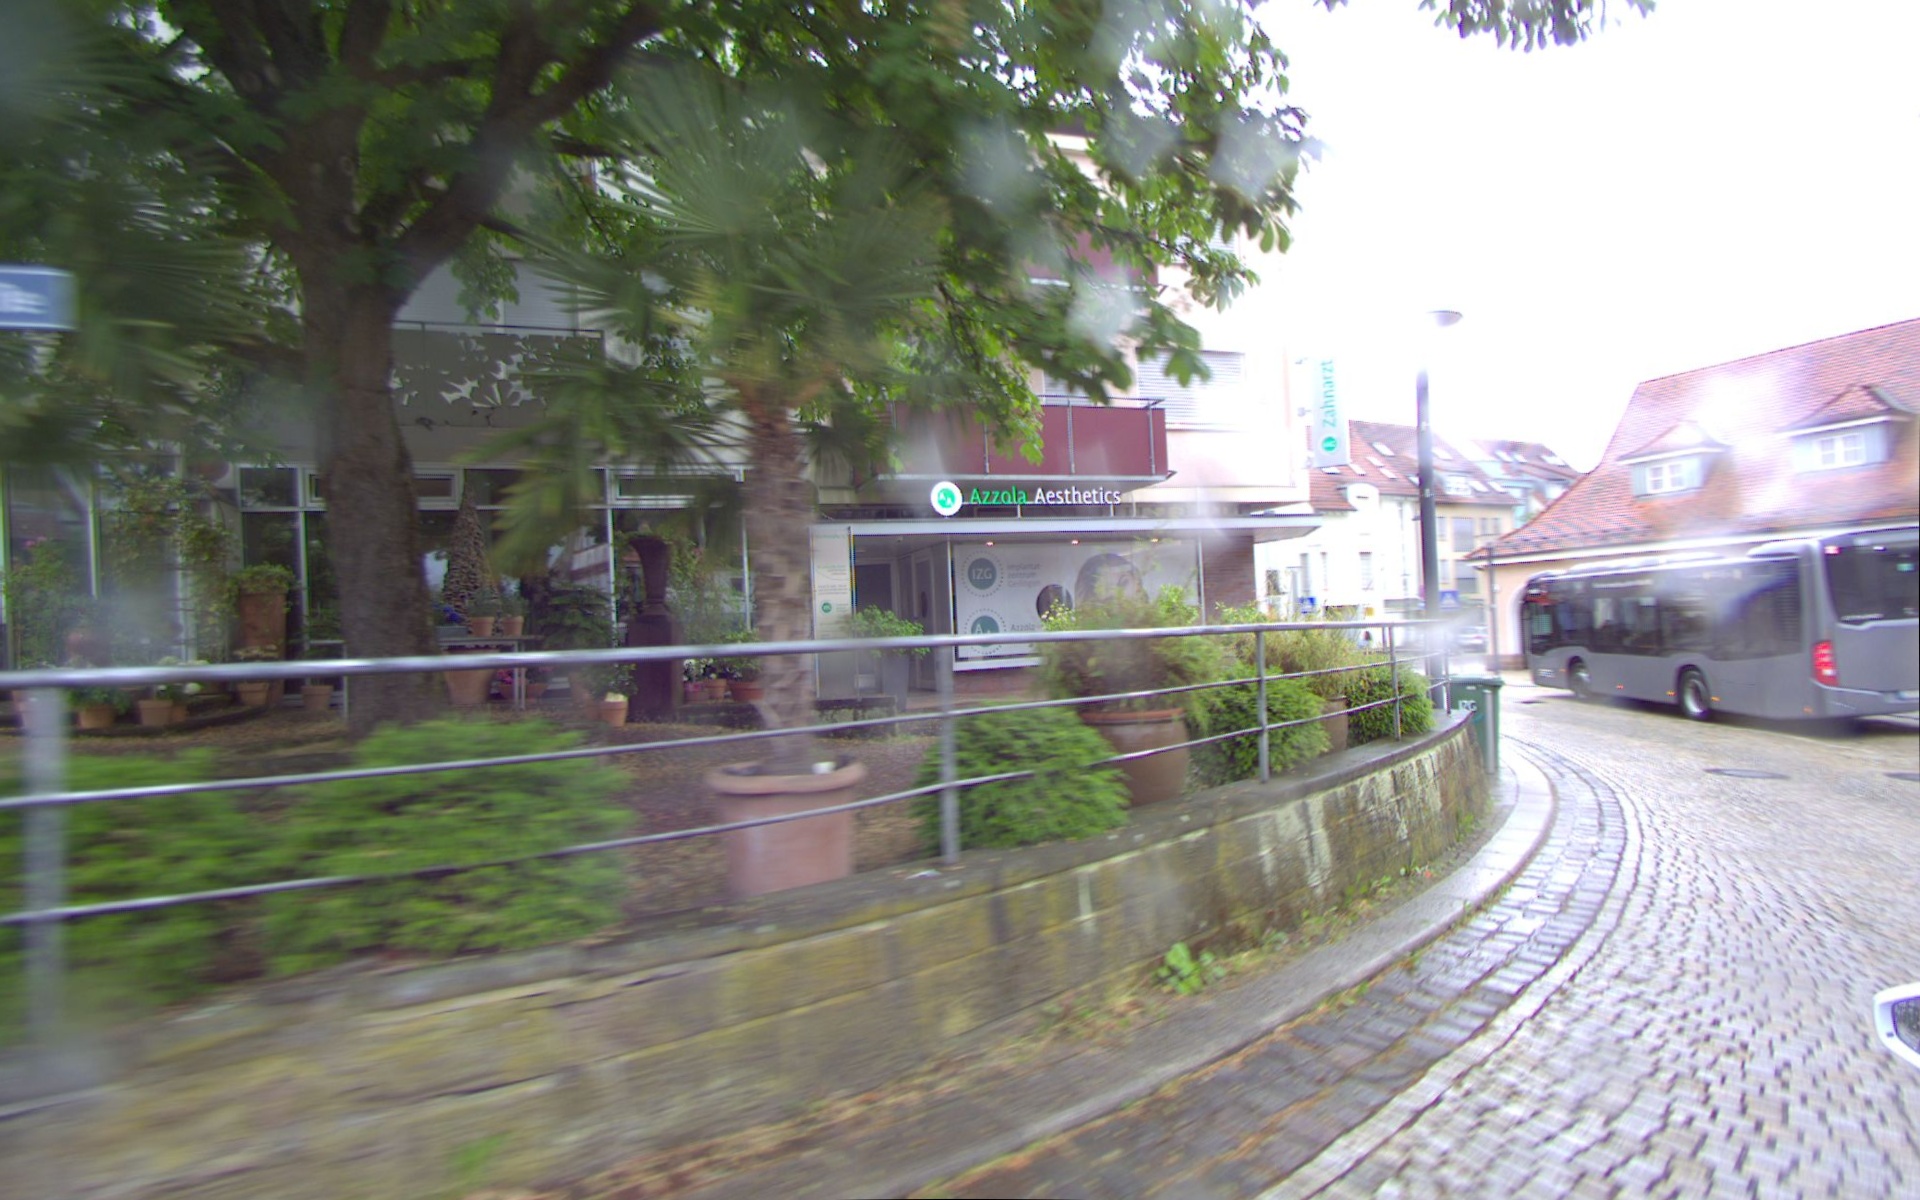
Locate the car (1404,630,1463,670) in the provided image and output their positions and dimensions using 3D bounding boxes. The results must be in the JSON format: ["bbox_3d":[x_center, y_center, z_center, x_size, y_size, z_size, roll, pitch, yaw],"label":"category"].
[{"bbox_3d":[26.339,2.757,55.833,1.971,1.889,3.980,-2,1,40],"label":"car"}]

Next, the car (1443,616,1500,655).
[{"bbox_3d":[30.484,2.105,59.847,1.973,2.040,3.976,-2,1,43],"label":"car"}]

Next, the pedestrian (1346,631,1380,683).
[{"bbox_3d":[14.338,2.015,35.759,0.776,1.756,0.757,-3,1,-34],"label":"pedestrian"}]

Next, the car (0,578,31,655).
[{"bbox_3d":[-23.624,0.428,23.051,1.703,1.849,4.408,-3,0,-20],"label":"car"}]

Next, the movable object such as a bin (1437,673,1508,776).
[{"bbox_3d":[5.937,1.429,11.656,0.667,1.101,0.539,0,1,21],"label":"movable object such as a bin"}]

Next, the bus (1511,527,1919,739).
[{"bbox_3d":[14.598,0.604,19.830,2.732,3.029,10.564,-3,-2,7],"label":"bus"}]
